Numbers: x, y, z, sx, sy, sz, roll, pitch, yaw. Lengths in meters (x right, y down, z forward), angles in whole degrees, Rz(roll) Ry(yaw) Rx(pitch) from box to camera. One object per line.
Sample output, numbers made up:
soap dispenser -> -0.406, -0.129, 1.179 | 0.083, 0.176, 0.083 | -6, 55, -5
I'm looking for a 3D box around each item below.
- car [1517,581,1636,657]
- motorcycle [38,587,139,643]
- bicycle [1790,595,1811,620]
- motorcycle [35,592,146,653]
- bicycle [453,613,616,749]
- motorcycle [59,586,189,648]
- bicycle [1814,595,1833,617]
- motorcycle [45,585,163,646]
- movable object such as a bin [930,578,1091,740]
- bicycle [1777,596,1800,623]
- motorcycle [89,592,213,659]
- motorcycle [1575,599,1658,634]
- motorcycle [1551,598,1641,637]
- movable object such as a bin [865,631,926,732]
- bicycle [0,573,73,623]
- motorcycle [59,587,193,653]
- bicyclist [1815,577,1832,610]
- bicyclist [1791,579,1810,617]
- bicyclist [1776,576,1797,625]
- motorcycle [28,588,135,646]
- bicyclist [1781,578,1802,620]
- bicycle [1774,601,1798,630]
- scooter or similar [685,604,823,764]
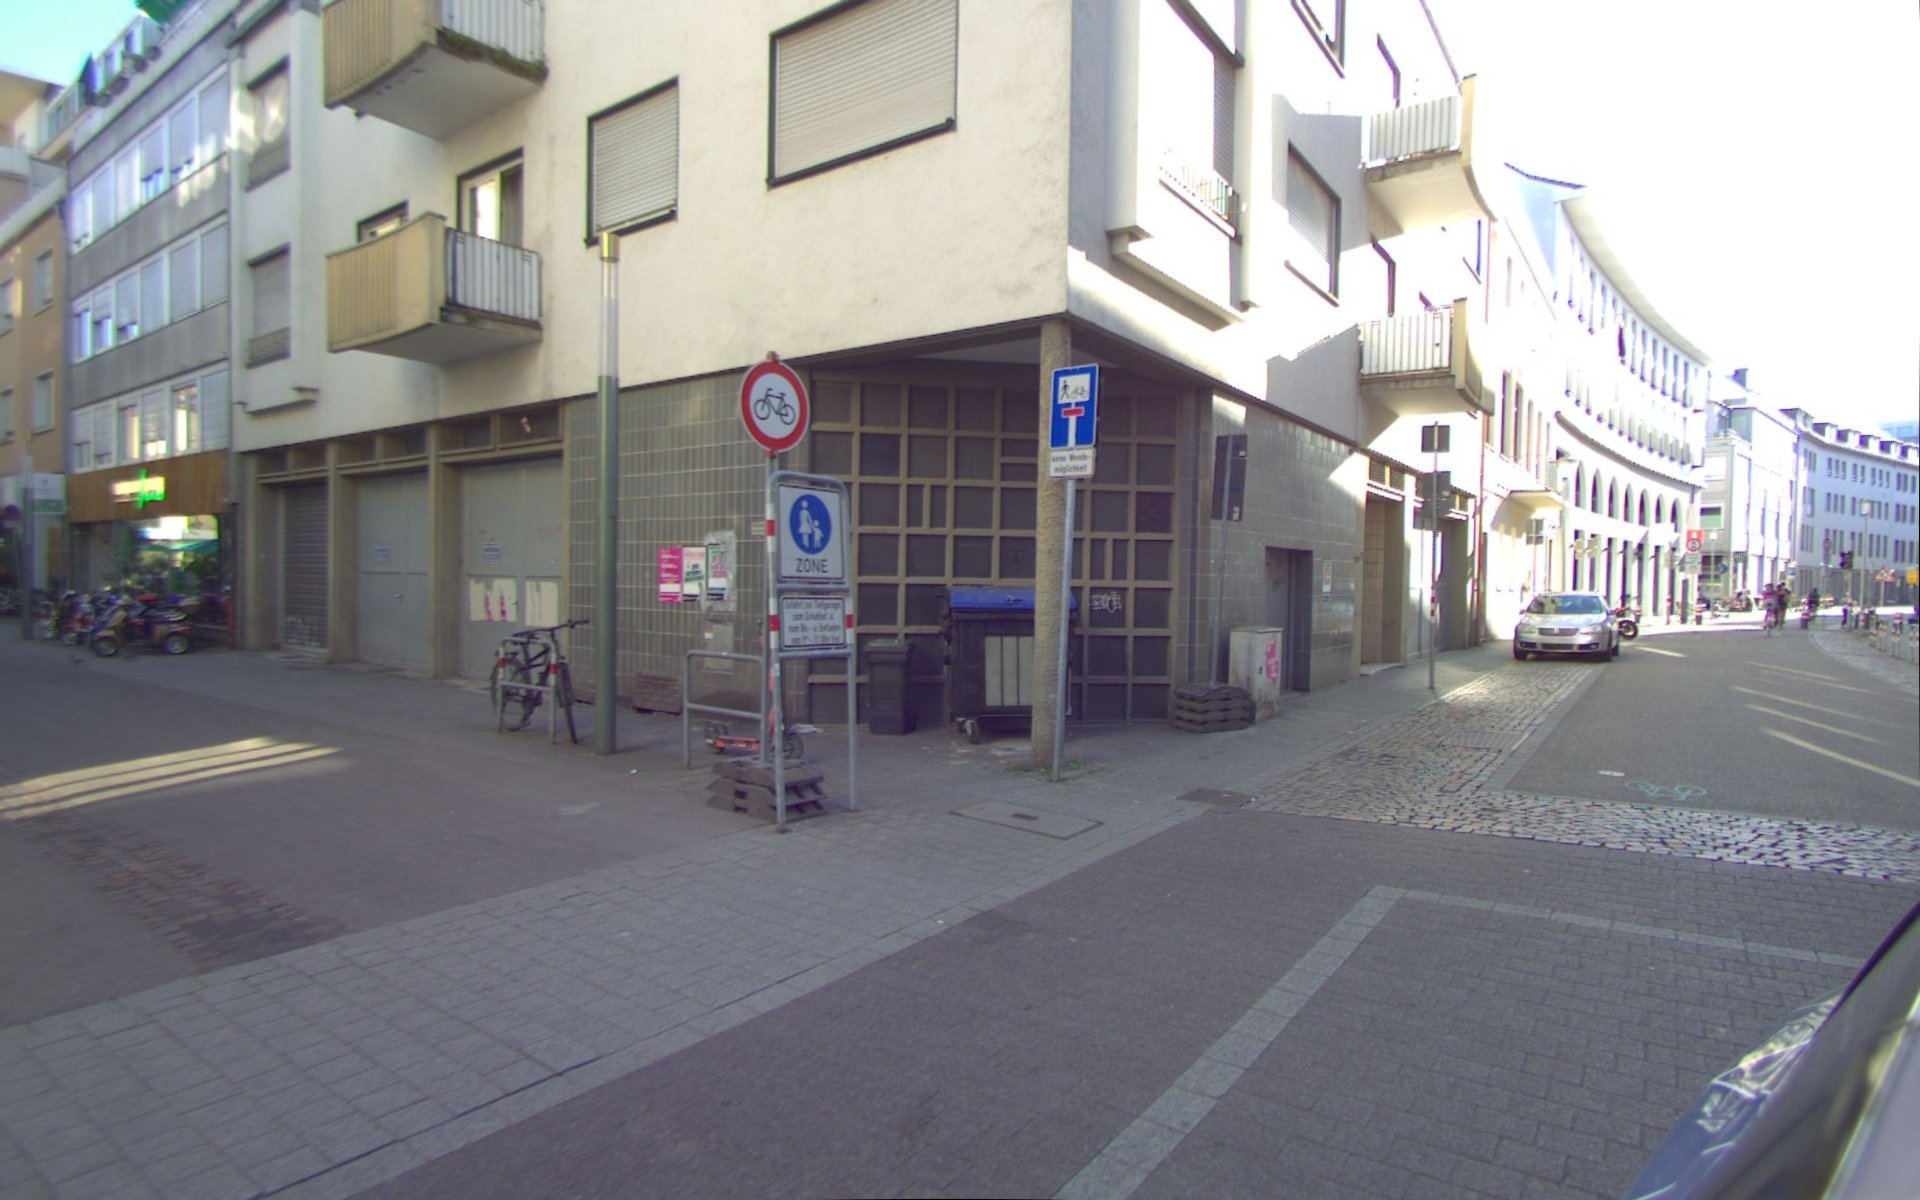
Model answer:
car -> 13.334, 0.342, 21.791 | 1.837, 1.480, 3.946 | 0, 1, 37
motorcycle -> -19.125, 0.319, 22.238 | 1.663, 1.188, 0.512 | 0, 1, -42
bicycle -> 34.991, 0.313, 42.116 | 0.575, 0.973, 1.694 | 1, 2, 42
motorcycle -> -17.849, 0.440, 20.805 | 0.594, 1.188, 1.667 | 1, 1, 41
bicycle -> -4.100, 0.719, 9.680 | 1.885, 1.141, 0.672 | 0, 1, 41
motorcycle -> -16.277, 0.320, 19.757 | 1.871, 1.188, 0.544 | 0, 0, -21
bicycle -> 41.455, 0.284, 48.599 | 0.621, 0.973, 1.694 | 1, 2, 42
motorcycle -> -17.137, 0.298, 20.311 | 1.750, 1.188, 0.554 | 0, 1, -35
movable object such as a bin -> 0.455, 0.533, 9.863 | 1.406, 1.481, 1.130 | 0, 1, -5
bicycle -> 31.615, 0.342, 38.612 | 0.575, 0.973, 1.694 | 1, 2, 42
motorcycle -> -14.775, 0.437, 18.546 | 1.667, 1.169, 0.793 | 0, 1, -31
motorcycle -> 19.851, 0.485, 30.624 | 0.633, 0.967, 1.997 | 0, 2, -39
motorcycle -> 17.362, 0.459, 27.675 | 0.633, 0.967, 1.997 | 0, 2, -39
movable object such as a bin -> -0.652, 0.798, 10.064 | 0.585, 0.938, 0.608 | 0, 1, -5
bicycle -> -27.085, -0.055, 29.257 | 0.586, 1.368, 2.108 | -10, -6, 40
motorcycle -> -15.706, 0.367, 19.096 | 1.860, 1.188, 0.630 | 0, 0, -15
bicyclist -> 41.466, -0.309, 48.608 | 0.579, 1.594, 0.681 | 1, 1, 44
bicyclist -> 34.995, -0.080, 42.139 | 0.575, 1.553, 0.803 | 1, 1, 43
bicyclist -> 26.093, -0.006, 31.948 | 0.471, 1.522, 0.784 | 1, 1, 40
motorcycle -> -18.550, 0.342, 21.389 | 0.511, 1.188, 1.666 | 1, 1, 41
bicyclist -> 31.948, -0.032, 38.885 | 0.579, 1.594, 0.681 | 1, 1, 42
bicycle -> 26.053, 0.486, 31.925 | 0.523, 0.859, 1.468 | 1, 2, 41
scooter or similar -> -1.757, 0.674, 8.583 | 1.155, 1.238, 0.492 | 1, 1, 35
